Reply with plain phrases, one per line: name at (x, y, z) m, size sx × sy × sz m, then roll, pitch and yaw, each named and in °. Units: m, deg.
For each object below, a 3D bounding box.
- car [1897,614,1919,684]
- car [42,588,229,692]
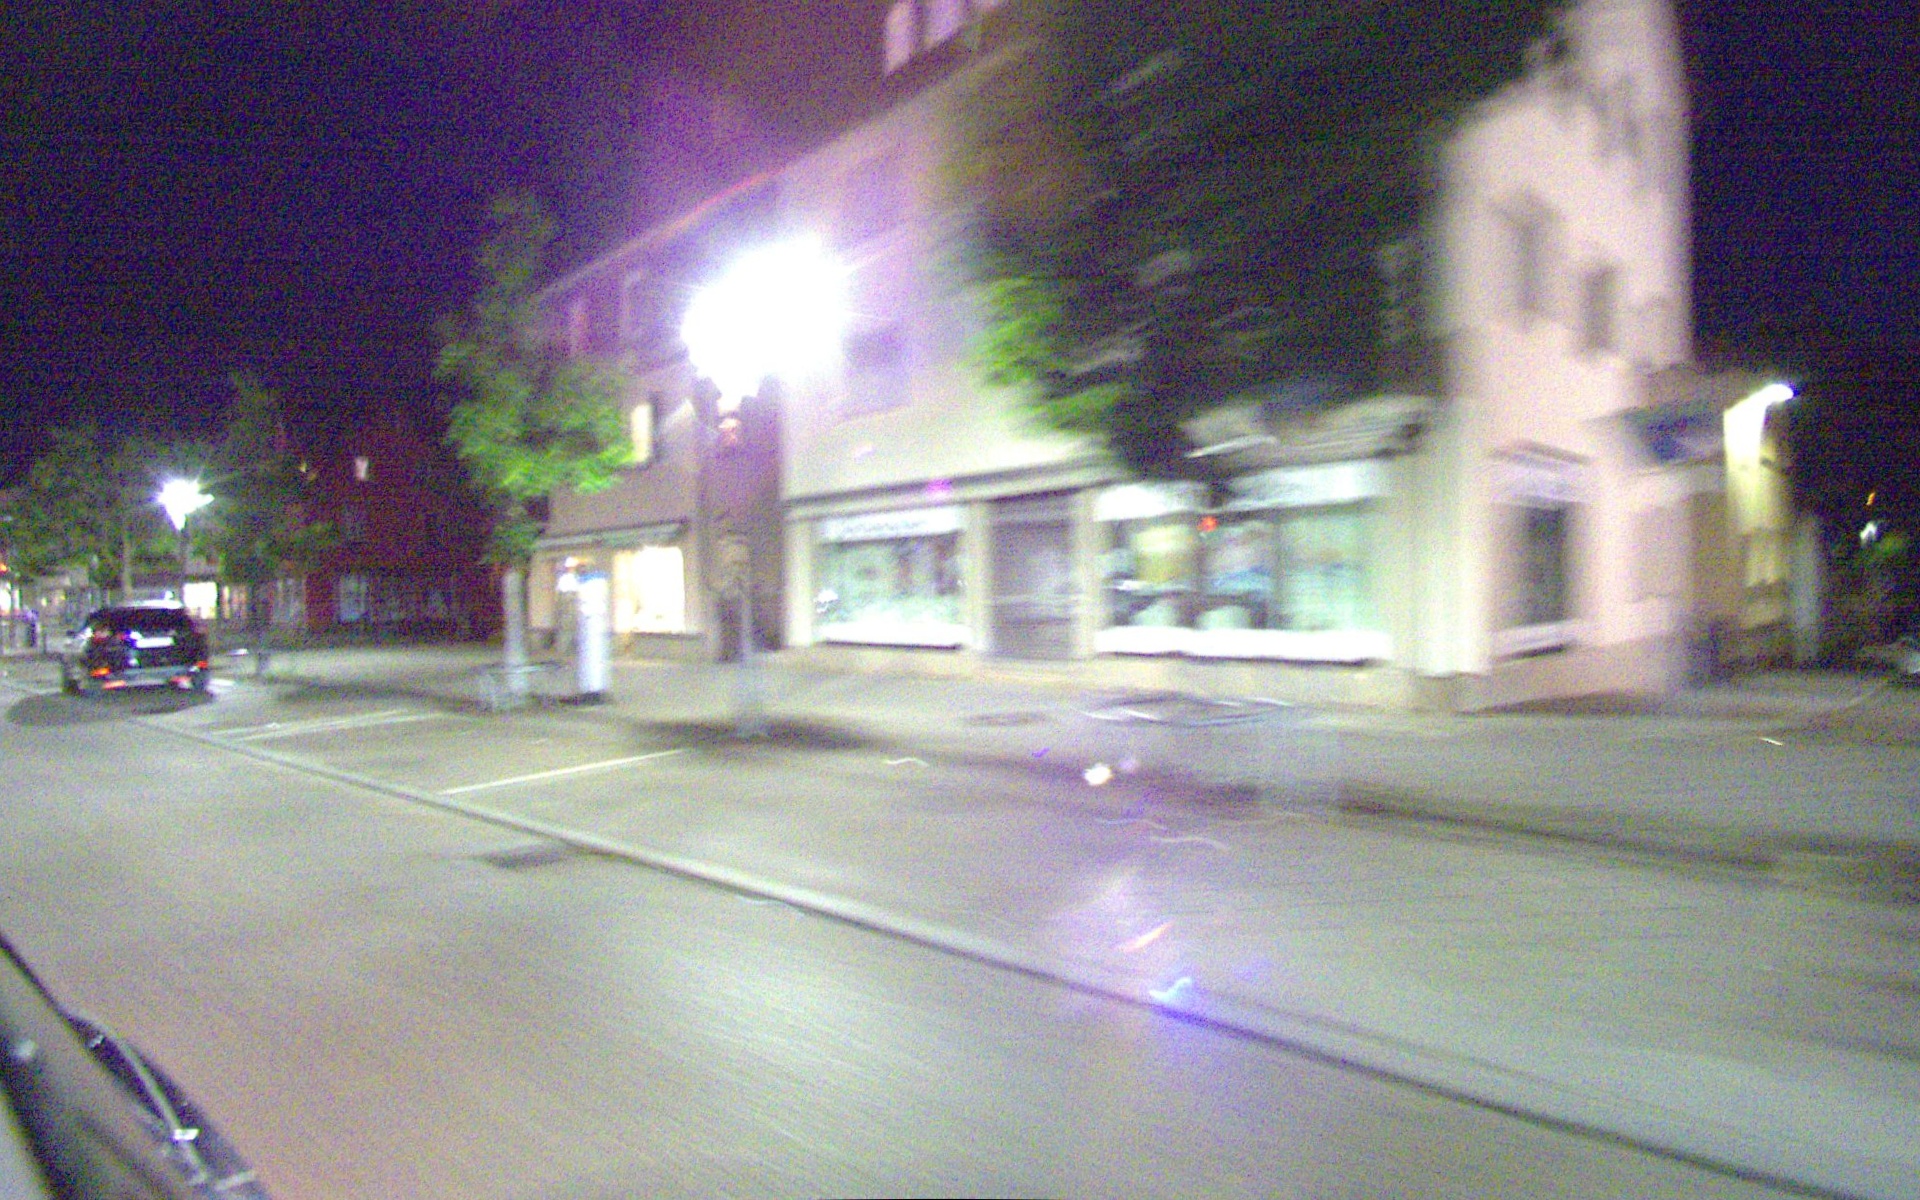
car at (22.929, 1.149, 23.233) m, size 1.896 × 1.531 × 4.124 m, roll 1°, pitch -1°, yaw 41°
car at (-16.117, 0.706, 19.685) m, size 5.001 × 1.703 × 1.997 m, roll -1°, pitch 2°, yaw 42°
